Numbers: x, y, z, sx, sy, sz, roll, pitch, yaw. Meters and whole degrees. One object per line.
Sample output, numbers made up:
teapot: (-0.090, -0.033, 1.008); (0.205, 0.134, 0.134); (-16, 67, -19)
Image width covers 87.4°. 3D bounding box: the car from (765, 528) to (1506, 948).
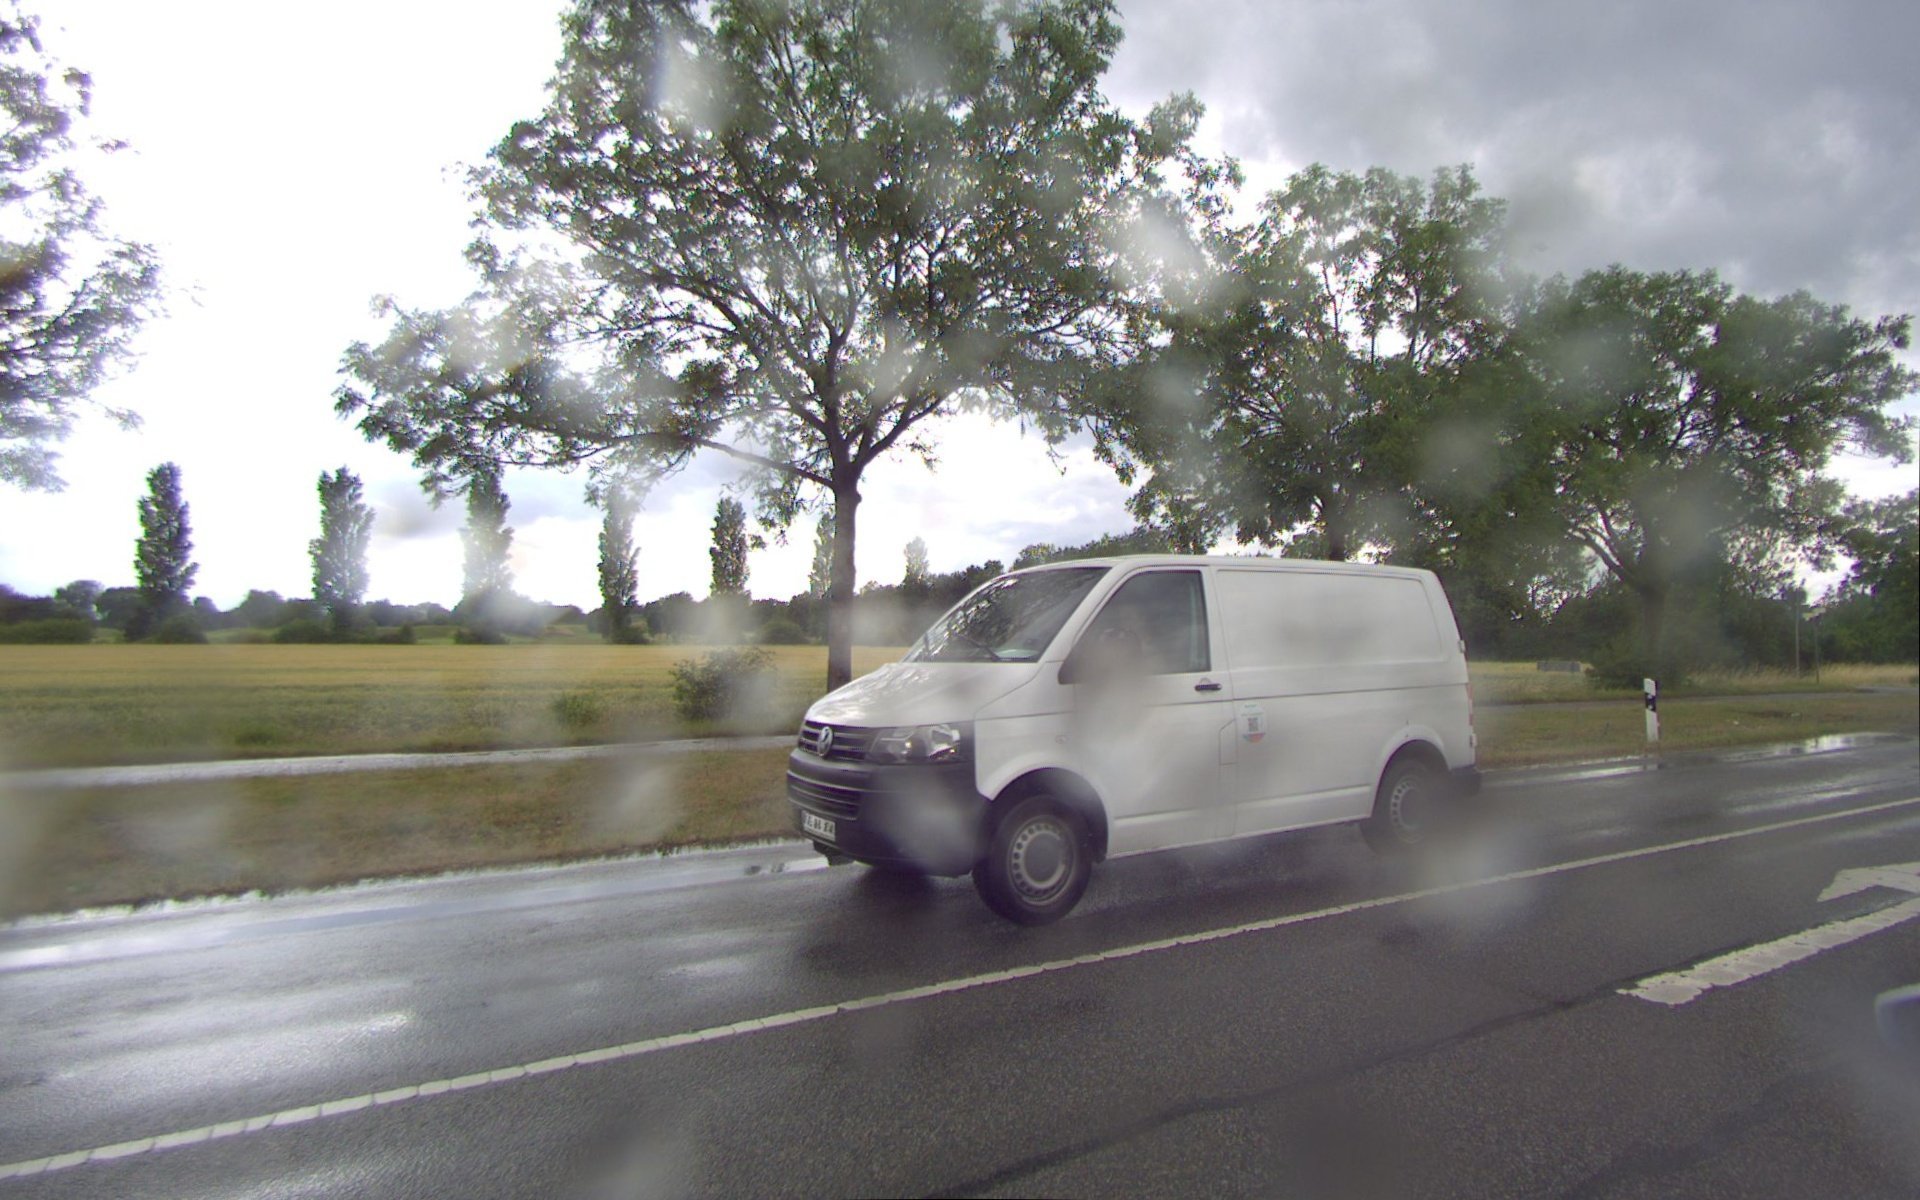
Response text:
car: (1.265, 0.732, 6.544); (4.631, 1.885, 1.908); (2, -4, -31)
